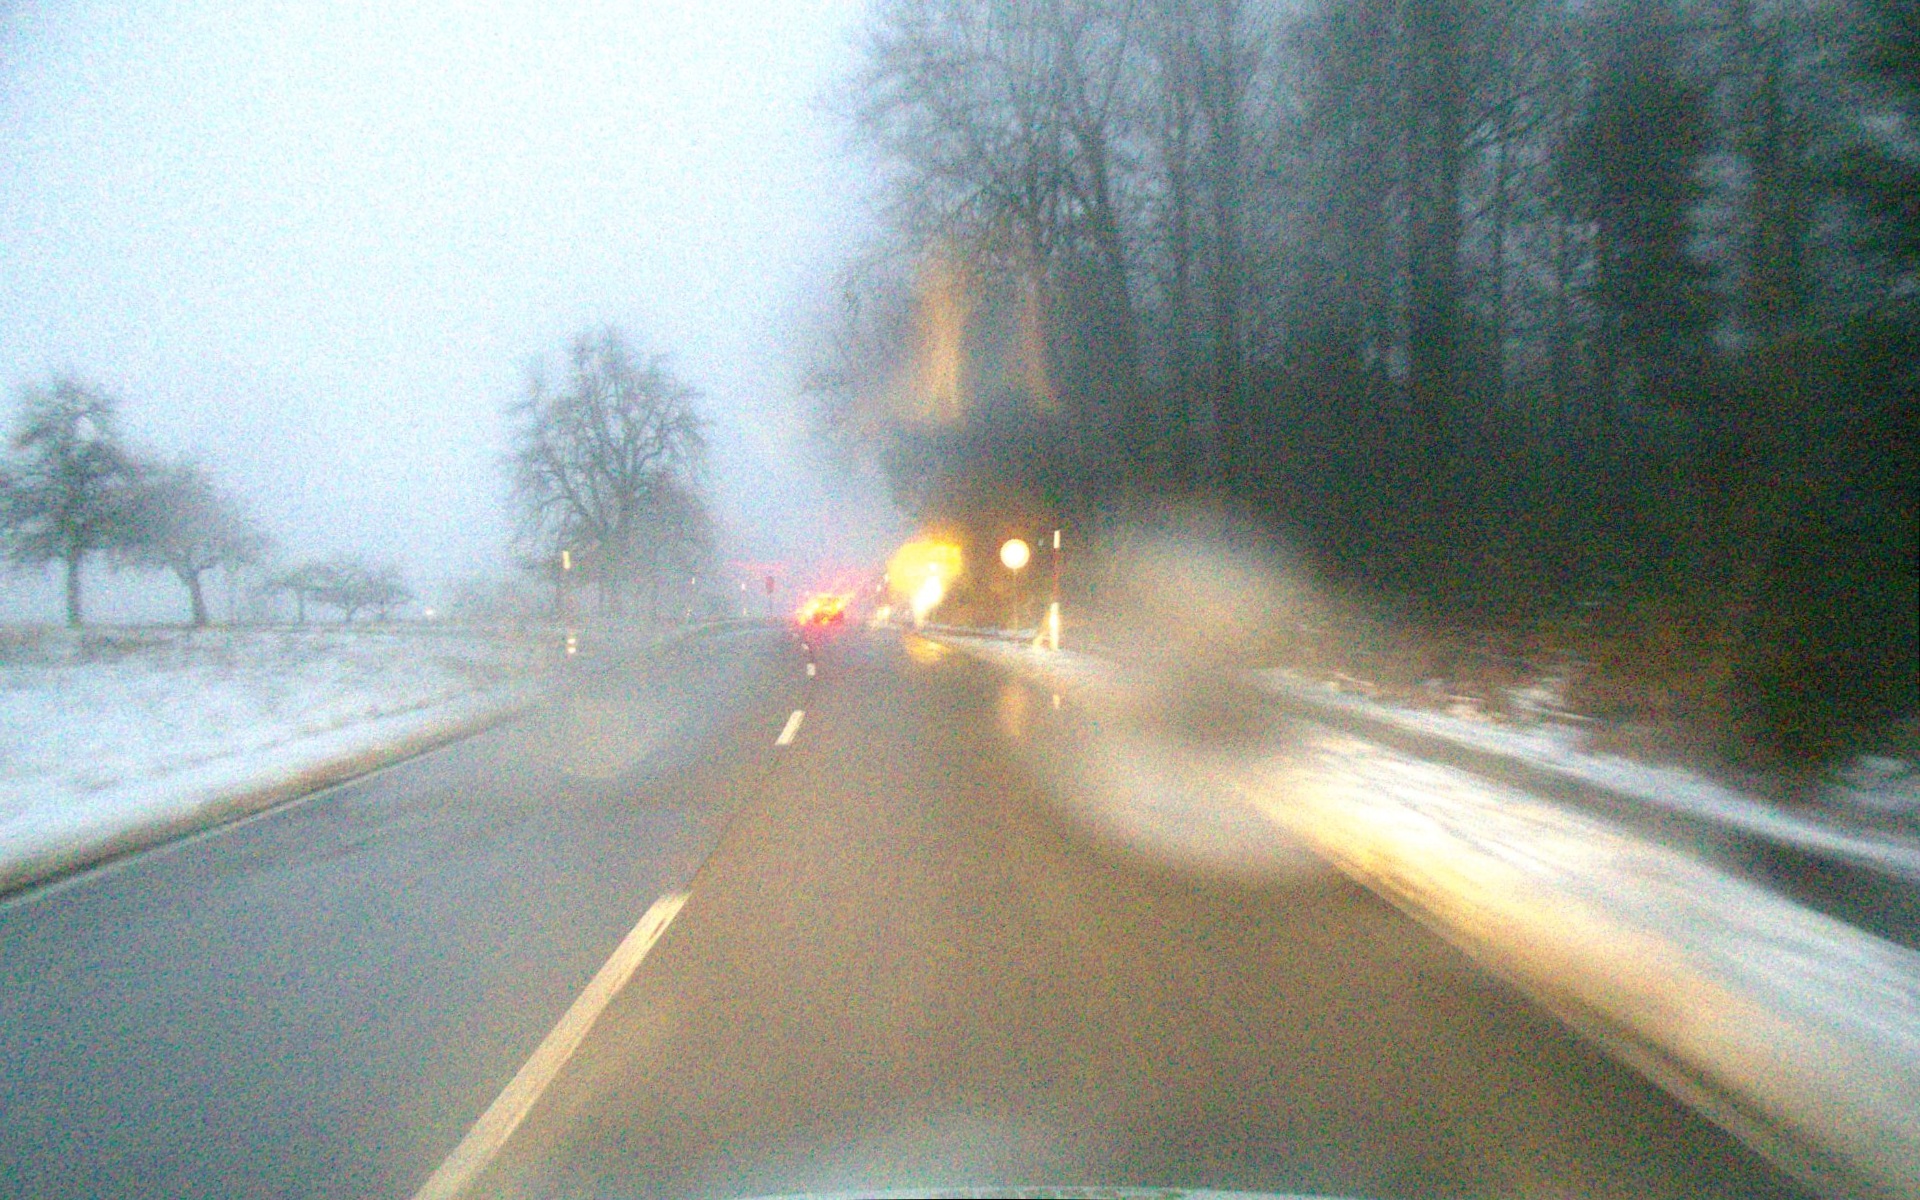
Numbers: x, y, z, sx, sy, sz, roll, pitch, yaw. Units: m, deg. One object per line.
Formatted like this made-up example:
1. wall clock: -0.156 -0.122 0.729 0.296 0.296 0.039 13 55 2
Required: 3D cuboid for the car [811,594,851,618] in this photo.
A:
1. car: -7.436 0.339 95.502 1.882 1.299 4.001 -1 1 1
